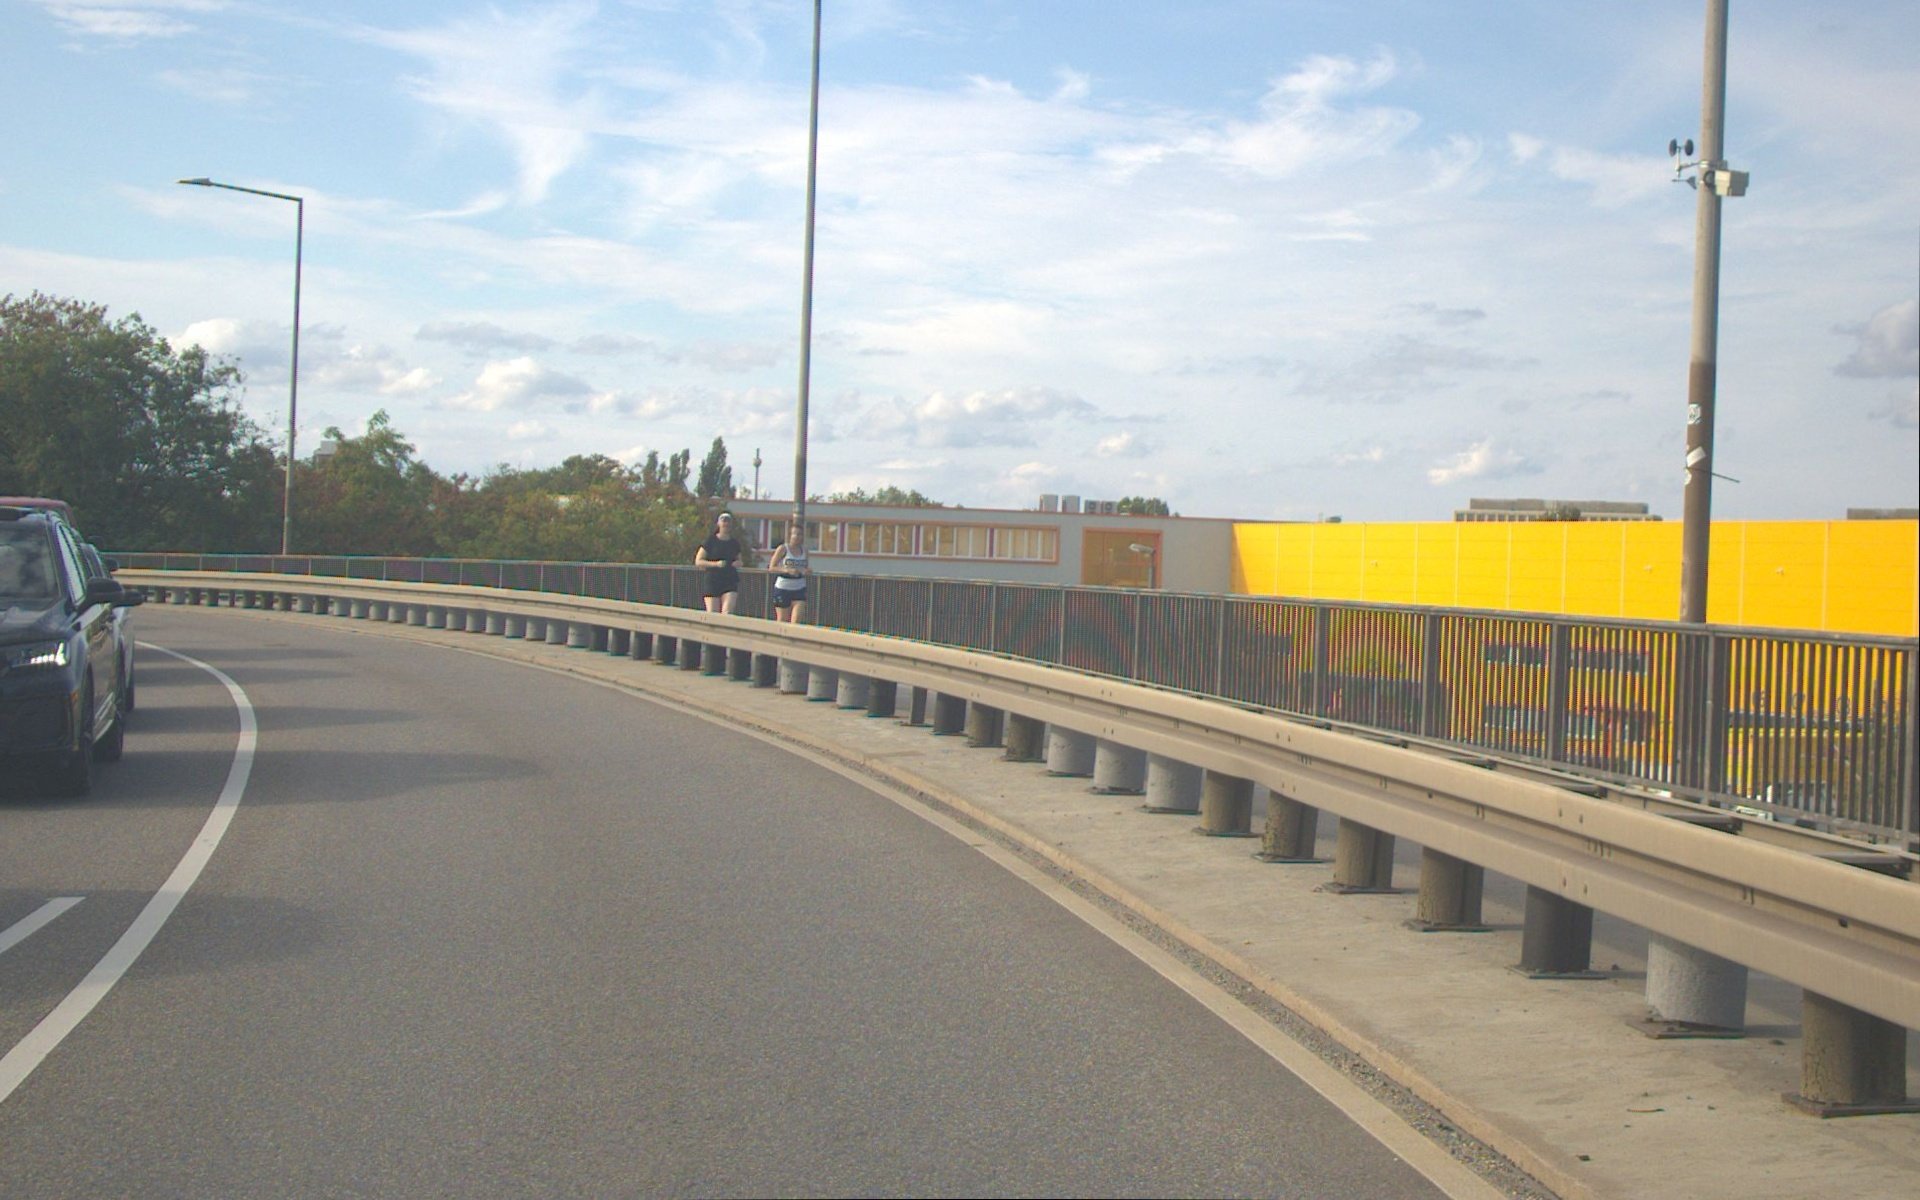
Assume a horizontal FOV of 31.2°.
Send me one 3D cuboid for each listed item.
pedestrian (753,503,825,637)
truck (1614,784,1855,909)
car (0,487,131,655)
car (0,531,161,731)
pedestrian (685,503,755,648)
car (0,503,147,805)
[{"bbox_3d":[-1.989,-0.353,39.949,0.676,1.538,0.961,0,1,-13],"label":"pedestrian"},{"bbox_3d":[25.169,7.968,111.739,7.207,3.605,2.668,0,3,-18],"label":"truck"},{"bbox_3d":[-11.199,-0.389,41.332,2.007,1.897,4.869,-1,1,-18],"label":"car"},{"bbox_3d":[-7.463,0.193,28.072,1.740,1.495,4.079,-1,1,-12],"label":"car"},{"bbox_3d":[-2.777,-0.284,39.674,0.676,1.656,0.866,0,1,-13],"label":"pedestrian"},{"bbox_3d":[-6.177,0.247,21.317,1.829,1.666,4.868,0,1,-9],"label":"car"}]
